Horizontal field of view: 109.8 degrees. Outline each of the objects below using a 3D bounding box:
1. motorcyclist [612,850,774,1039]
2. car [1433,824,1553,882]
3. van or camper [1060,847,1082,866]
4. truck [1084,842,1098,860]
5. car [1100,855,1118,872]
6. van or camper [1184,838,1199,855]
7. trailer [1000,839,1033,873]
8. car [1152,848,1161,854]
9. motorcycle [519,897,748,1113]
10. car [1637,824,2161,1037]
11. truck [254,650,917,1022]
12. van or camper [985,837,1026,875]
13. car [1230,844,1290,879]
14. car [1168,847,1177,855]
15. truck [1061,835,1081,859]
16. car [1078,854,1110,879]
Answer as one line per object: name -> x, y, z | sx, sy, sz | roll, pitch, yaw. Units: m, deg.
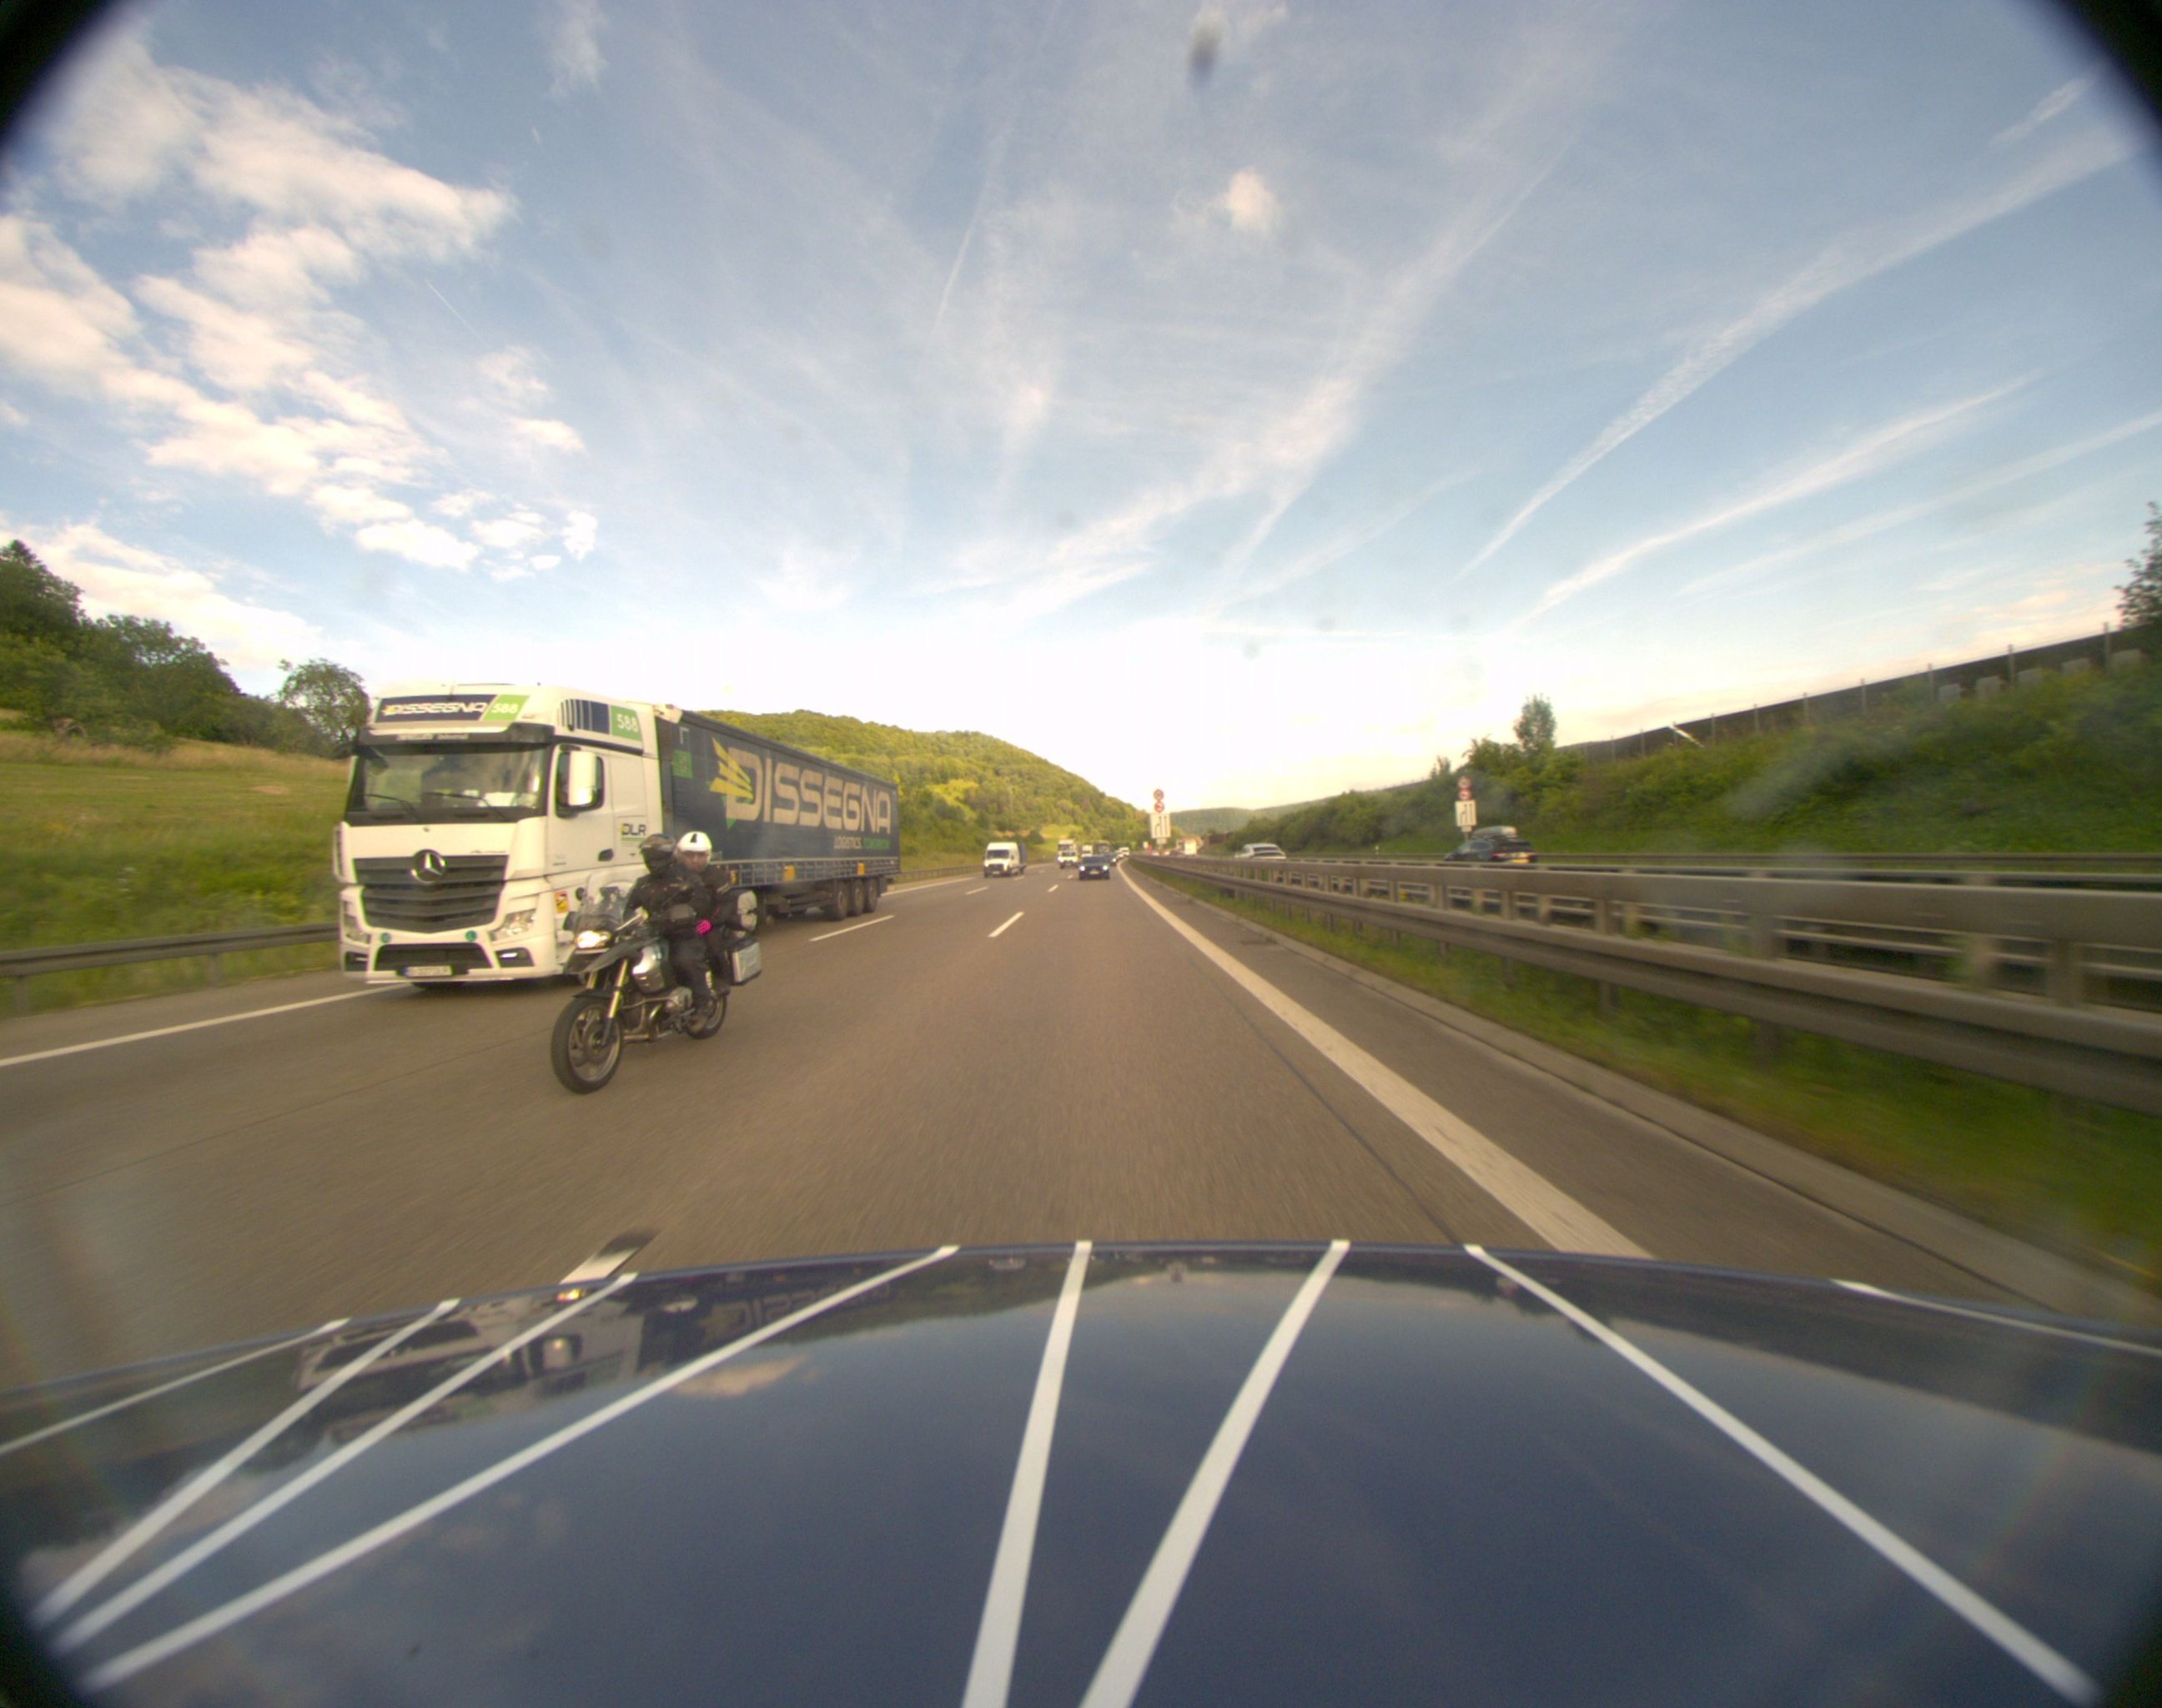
motorcyclist -> -3.313, 0.737, 6.564 | 0.878, 1.506, 0.798 | -2, 1, 5
car -> 16.066, -0.067, 30.013 | 1.967, 2.028, 5.019 | -2, 1, 0
van or camper -> -1.022, 0.265, 81.700 | 1.998, 1.881, 4.488 | -2, 0, 4
truck -> 2.194, -0.685, 169.587 | 2.708, 3.627, 9.032 | -2, 0, 0
car -> 3.192, 1.059, 86.688 | 1.998, 1.870, 4.001 | -1, 0, 2
van or camper -> 24.507, -1.694, 168.269 | 2.487, 3.531, 7.978 | -2, 0, 3
trailer -> -5.422, 0.153, 64.727 | 1.998, 2.710, 5.250 | -2, 0, 3
car -> 16.919, -0.700, 170.365 | 1.784, 1.401, 3.763 | -2, 0, 4
motorcycle -> -3.366, 1.060, 5.937 | 0.628, 1.331, 1.739 | -2, 0, 4
car -> 8.304, 0.586, 8.139 | 1.647, 1.646, 4.345 | -2, 0, 3
truck -> -7.329, -0.233, 17.181 | 2.972, 3.969, 17.731 | -2, 0, 1
van or camper -> -5.738, 0.171, 58.664 | 1.998, 2.701, 7.524 | -2, 0, 3
car -> 9.064, 0.332, 38.938 | 1.837, 1.582, 5.019 | -3, 1, 0
car -> 20.530, -0.705, 171.023 | 1.647, 1.646, 4.345 | -2, 0, 3
truck -> -1.707, -1.234, 132.846 | 2.925, 3.876, 13.010 | -2, 0, 2
car -> 0.813, 0.714, 45.308 | 1.580, 1.310, 4.001 | -2, 0, 5
